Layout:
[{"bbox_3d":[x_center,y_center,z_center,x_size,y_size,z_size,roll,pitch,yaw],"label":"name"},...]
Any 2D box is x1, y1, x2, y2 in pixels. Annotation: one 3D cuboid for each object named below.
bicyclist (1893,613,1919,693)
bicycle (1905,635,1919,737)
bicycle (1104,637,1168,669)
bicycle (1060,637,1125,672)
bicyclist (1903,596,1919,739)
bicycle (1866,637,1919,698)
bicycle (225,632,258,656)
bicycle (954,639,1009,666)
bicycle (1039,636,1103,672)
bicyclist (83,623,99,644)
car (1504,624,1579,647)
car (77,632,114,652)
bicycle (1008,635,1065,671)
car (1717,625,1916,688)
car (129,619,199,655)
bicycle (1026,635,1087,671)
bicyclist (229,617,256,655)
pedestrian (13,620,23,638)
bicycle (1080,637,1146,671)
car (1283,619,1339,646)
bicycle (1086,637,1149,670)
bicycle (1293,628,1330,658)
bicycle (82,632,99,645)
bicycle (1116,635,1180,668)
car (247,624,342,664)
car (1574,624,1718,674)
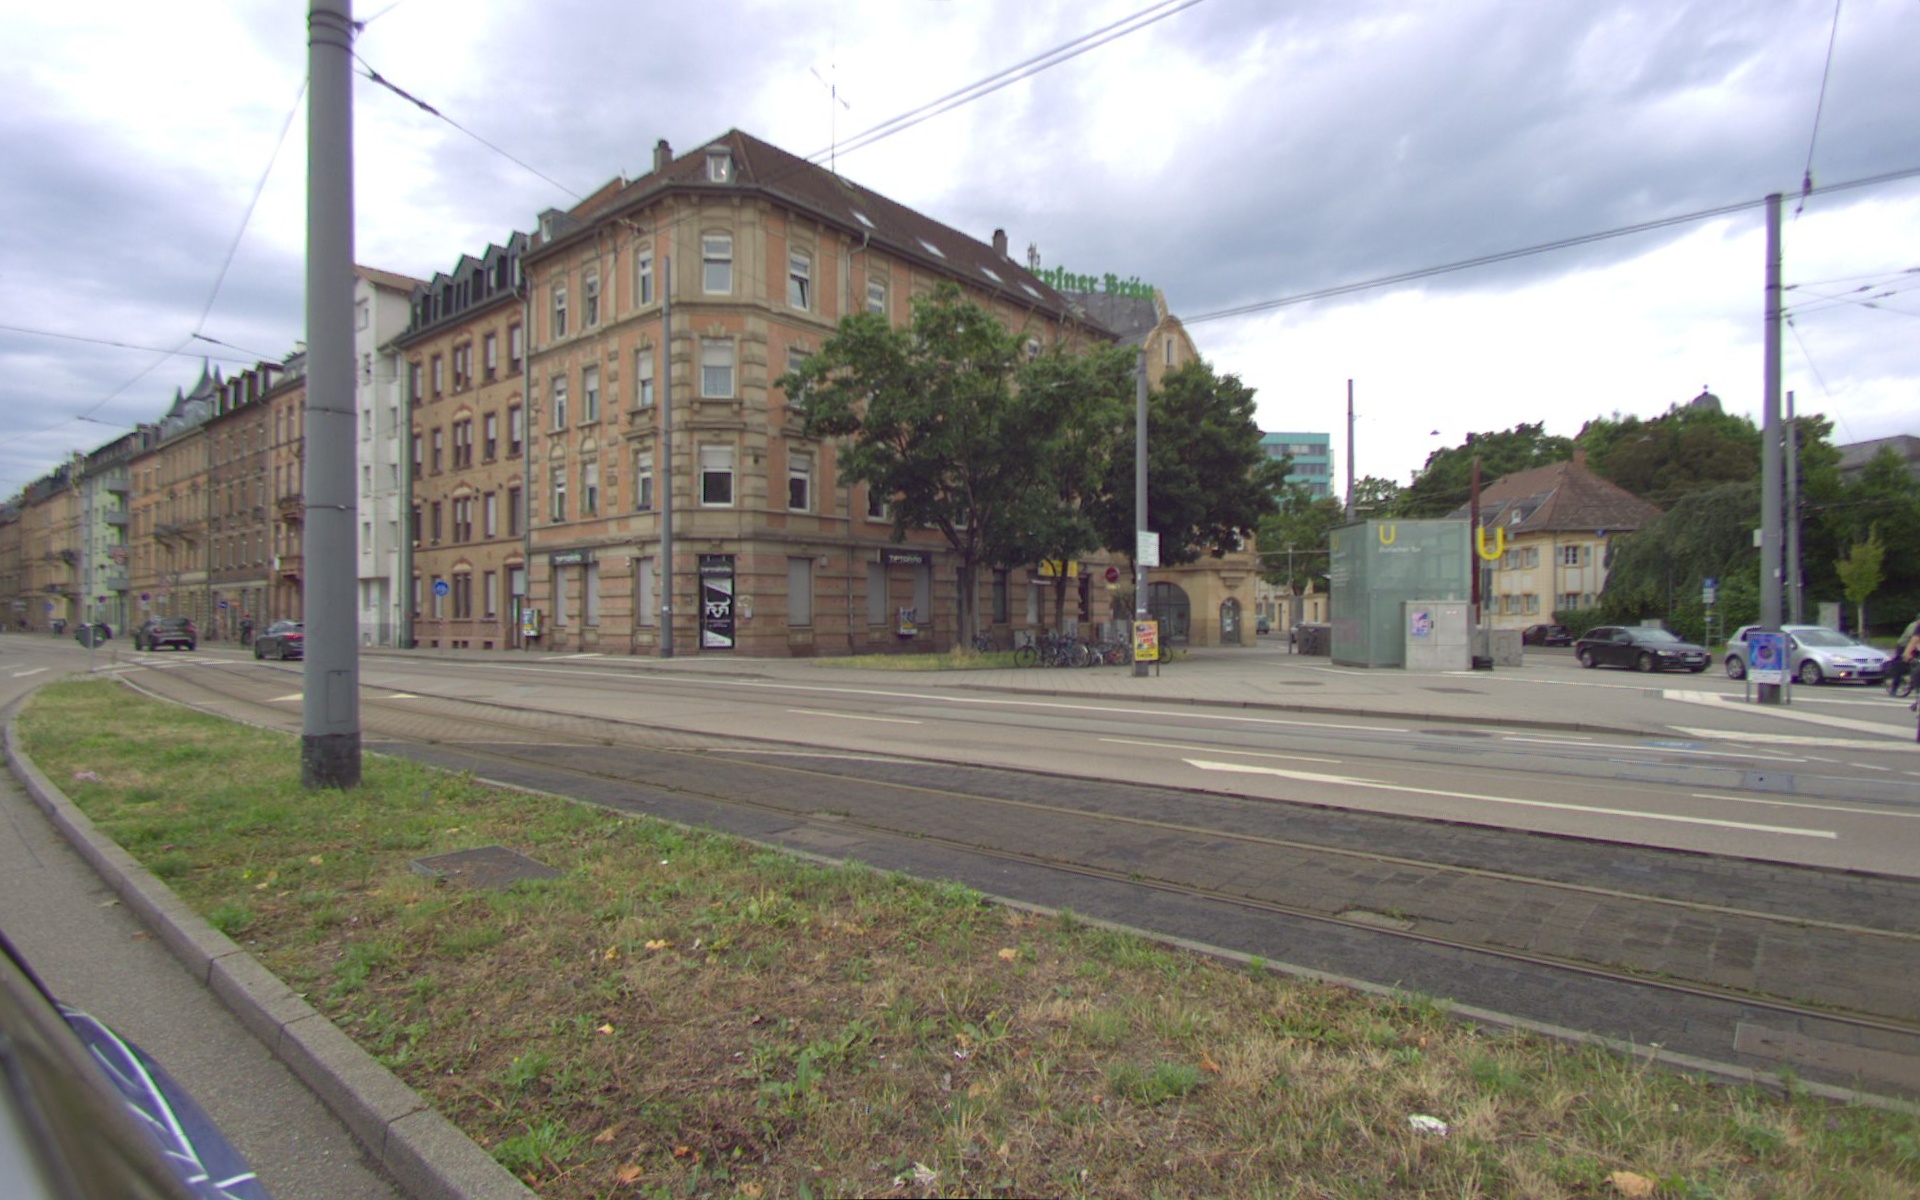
[{"bbox_3d":[19.961,1.085,20.715,0.843,1.635,0.917,0,-2,1],"label":"bicyclist"},{"bbox_3d":[12.727,1.086,12.993,0.816,1.252,1.971,-3,-4,43],"label":"bicycle"},{"bbox_3d":[5.755,1.730,33.159,0.576,0.994,2.224,0,-1,-39],"label":"bicycle"},{"bbox_3d":[4.030,1.638,30.840,0.492,0.994,2.224,0,-1,-39],"label":"bicycle"},{"bbox_3d":[12.777,0.856,13.052,0.816,1.812,1.015,-3,-3,43],"label":"bicyclist"},{"bbox_3d":[19.956,1.383,20.714,0.845,1.217,2.197,0,-1,1],"label":"bicycle"},{"bbox_3d":[-36.994,2.255,52.128,2.232,1.217,0.816,-2,-3,40],"label":"bicycle"},{"bbox_3d":[0.806,1.970,38.001,1.982,0.921,0.655,-4,-5,31],"label":"bicycle"},{"bbox_3d":[3.312,1.603,30.508,0.472,1.014,2.224,0,-1,-39],"label":"bicycle"},{"bbox_3d":[-63.068,2.452,73.446,0.941,1.506,0.655,-1,-1,37],"label":"bicyclist"},{"bbox_3d":[35.608,2.156,62.089,1.904,1.298,4.006,0,-1,-7],"label":"car"},{"bbox_3d":[-68.828,3.303,80.546,3.828,1.491,1.828,-1,-2,43],"label":"car"},{"bbox_3d":[2.245,1.544,29.755,0.492,0.994,1.872,1,-2,-41],"label":"bicycle"},{"bbox_3d":[21.895,1.387,26.135,1.739,1.465,4.156,-1,-1,4],"label":"car"},{"bbox_3d":[-38.794,1.779,49.300,4.225,1.652,1.780,-1,-1,39],"label":"car"},{"bbox_3d":[2.860,1.561,30.182,0.513,0.994,2.041,0,-1,-39],"label":"bicycle"},{"bbox_3d":[-36.922,1.859,52.078,1.048,1.906,0.821,-2,-3,39],"label":"bicyclist"},{"bbox_3d":[-107.097,3.267,115.060,0.733,2.029,0.804,-1,-2,41],"label":"pedestrian"},{"bbox_3d":[4.797,1.690,31.838,0.601,0.994,2.224,0,-1,-39],"label":"bicycle"},{"bbox_3d":[23.250,2.131,67.217,1.969,1.741,4.005,0,-1,-6],"label":"car"},{"bbox_3d":[5.031,1.689,32.496,0.492,0.994,2.224,0,-1,-39],"label":"bicycle"},{"bbox_3d":[13.929,1.704,40.127,0.730,1.123,2.361,-1,-1,3],"label":"bicycle"},{"bbox_3d":[-63.112,2.763,73.462,1.716,0.922,0.600,-1,-1,37],"label":"bicycle"},{"bbox_3d":[6.355,1.729,34.284,0.678,1.047,2.224,0,-1,-39],"label":"bicycle"},{"bbox_3d":[-24.437,1.580,37.105,4.387,1.406,1.676,-1,-2,39],"label":"car"},{"bbox_3d":[21.793,1.523,32.381,1.673,1.460,4.144,-1,-1,-1],"label":"car"}]
